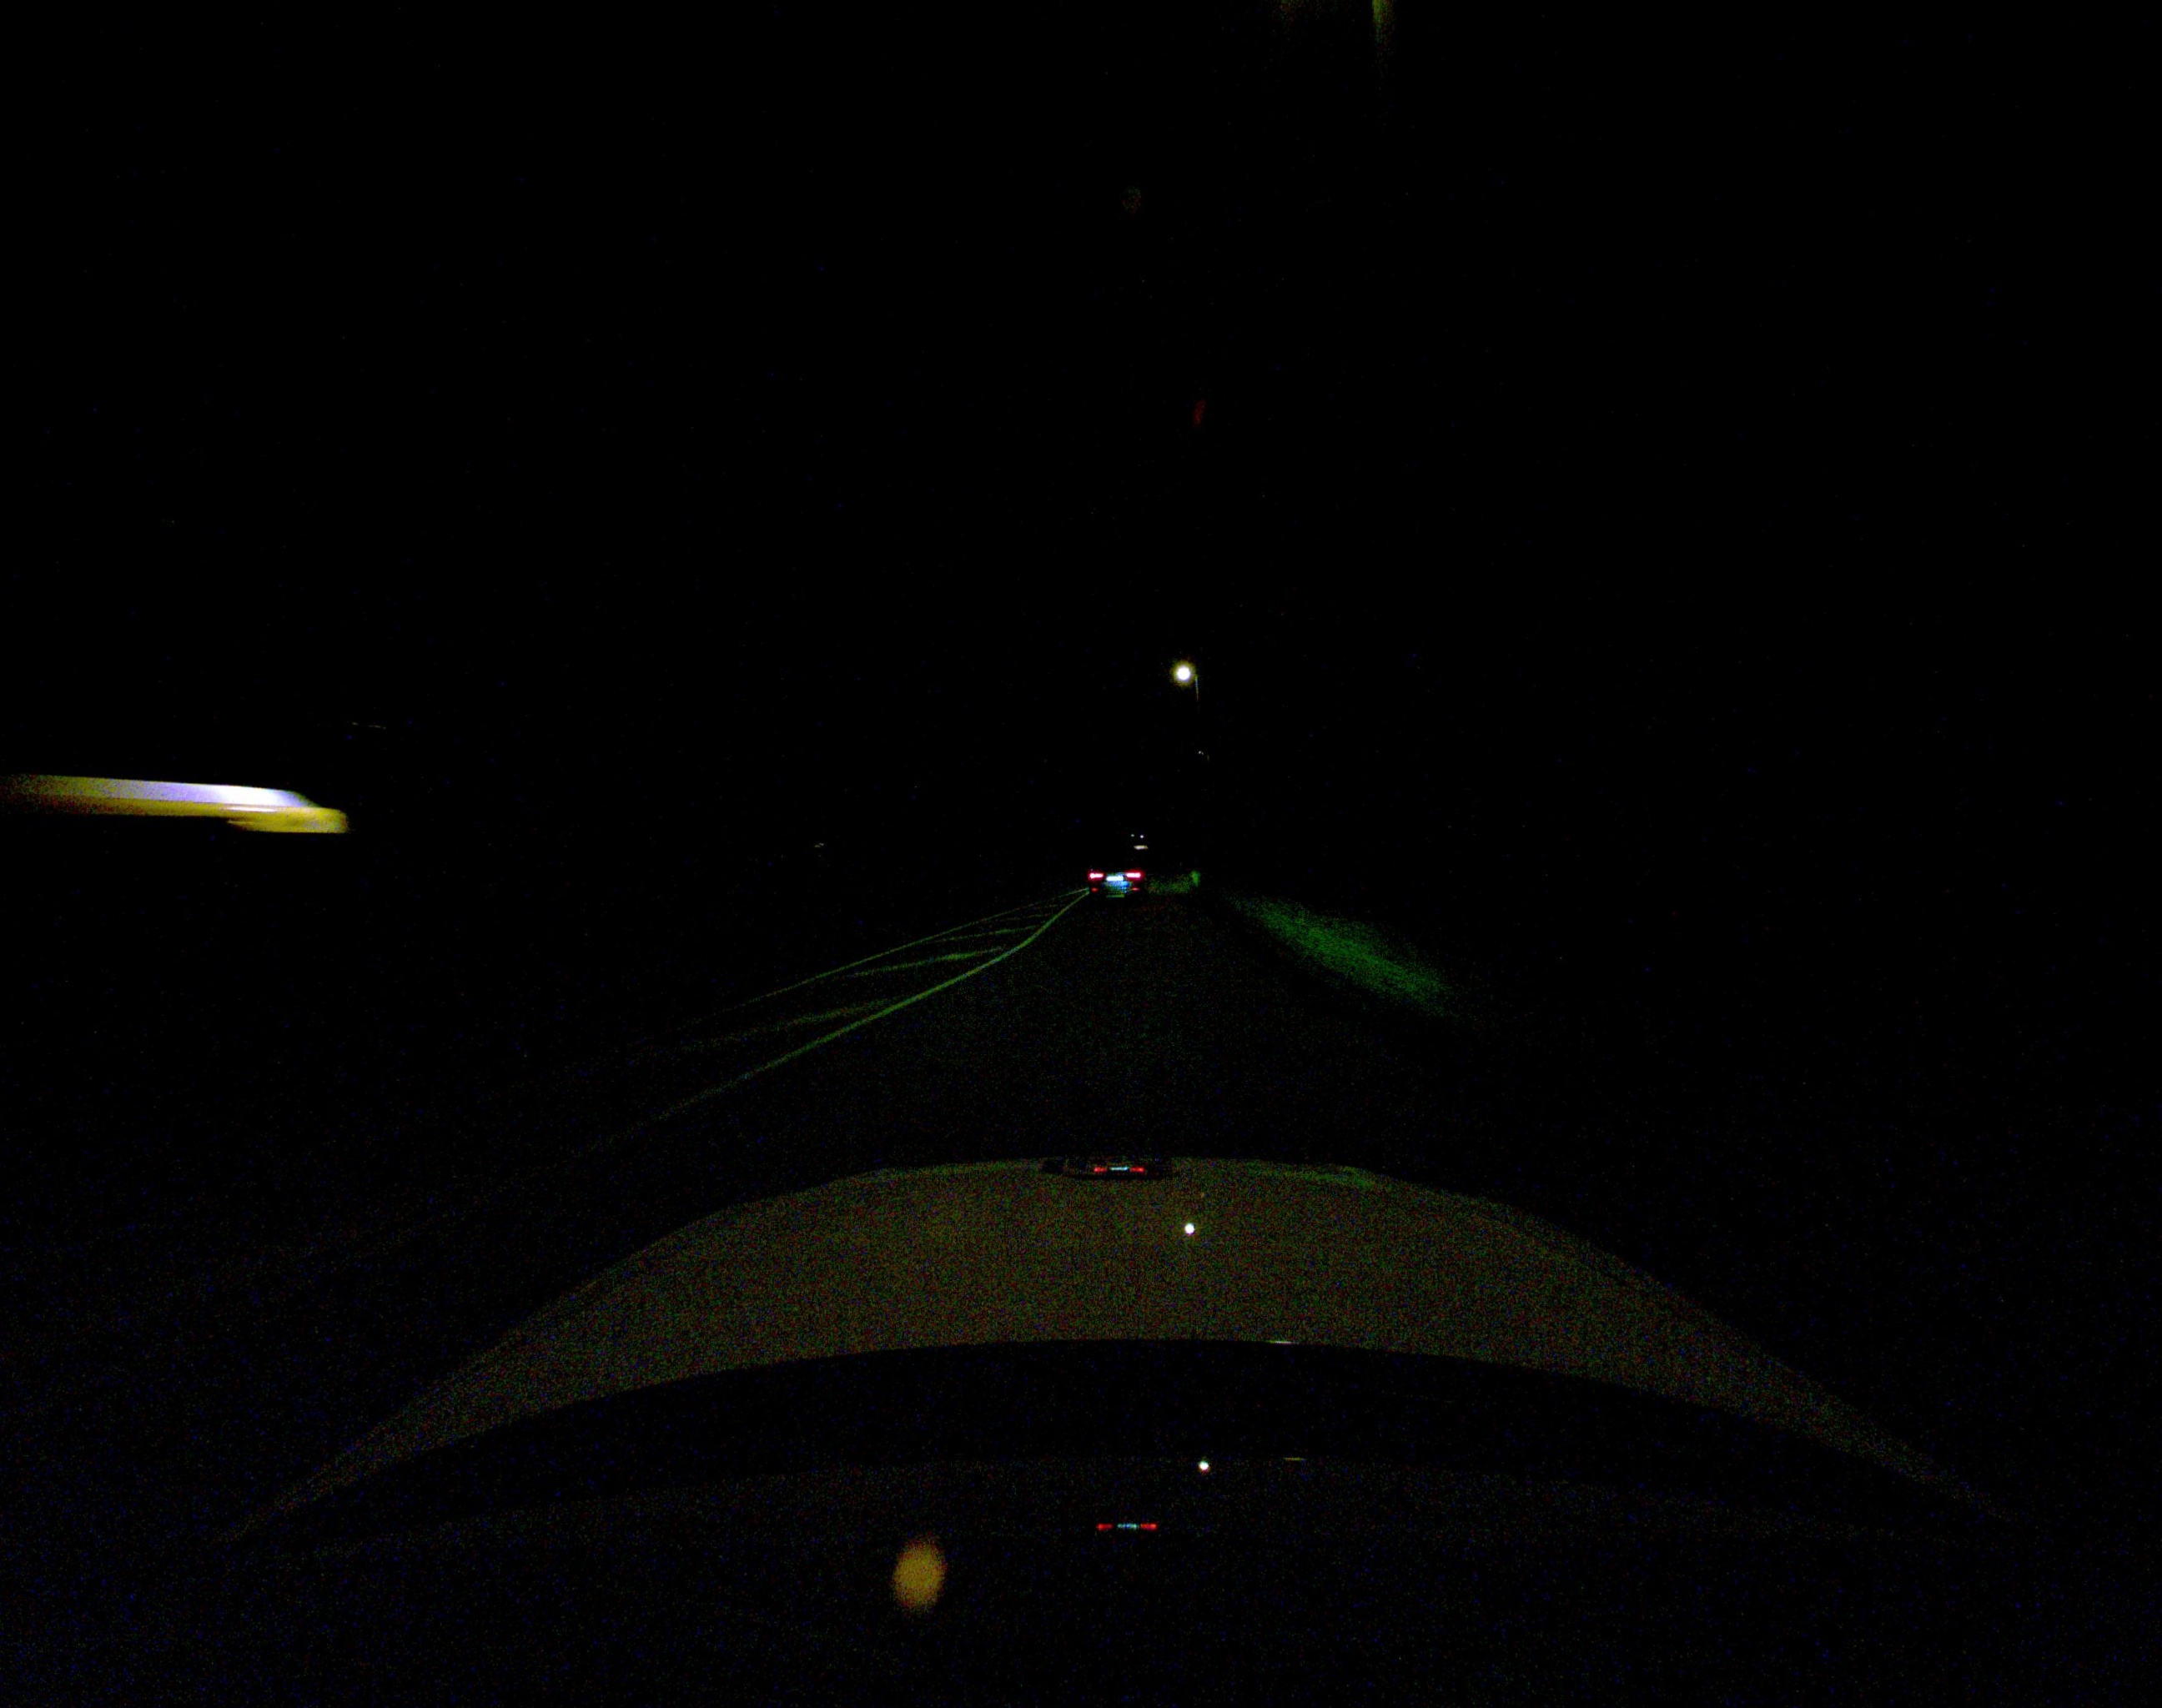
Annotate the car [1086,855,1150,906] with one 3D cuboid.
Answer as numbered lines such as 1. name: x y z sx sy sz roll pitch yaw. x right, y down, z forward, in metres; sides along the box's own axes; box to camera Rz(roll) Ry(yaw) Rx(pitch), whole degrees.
1. car: 1.325 0.848 27.745 1.805 1.573 3.952 -1 0 8
